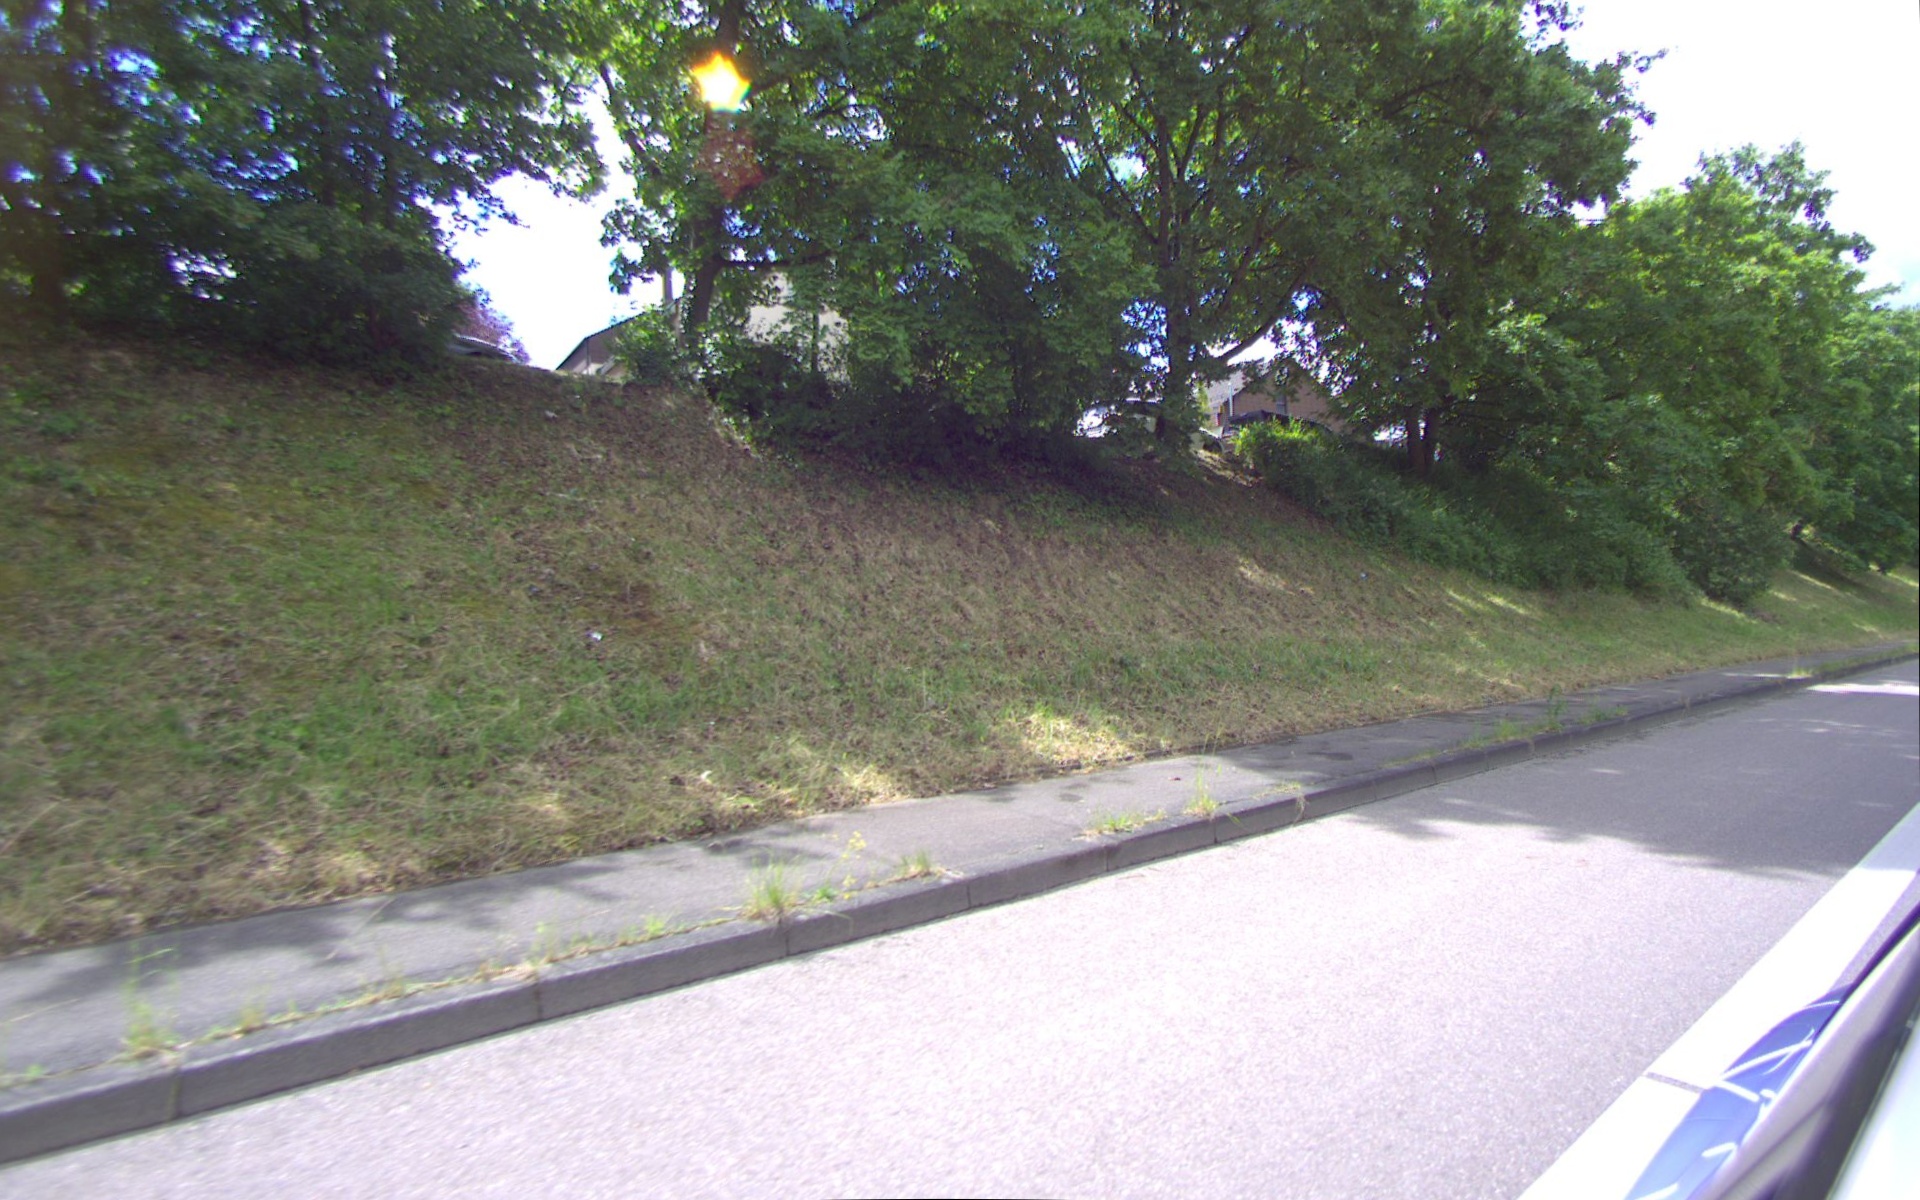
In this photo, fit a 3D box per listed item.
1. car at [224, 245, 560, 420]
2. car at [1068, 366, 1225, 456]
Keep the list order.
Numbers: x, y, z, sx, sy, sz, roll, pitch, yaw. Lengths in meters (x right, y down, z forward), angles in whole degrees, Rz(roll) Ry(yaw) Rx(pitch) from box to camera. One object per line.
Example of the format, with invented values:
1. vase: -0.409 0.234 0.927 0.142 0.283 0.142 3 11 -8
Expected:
1. car: -8.032 -3.665 14.506 3.928 1.517 1.777 -1 1 -42
2. car: 4.623 -4.539 24.778 3.928 1.517 1.777 -1 1 -42
